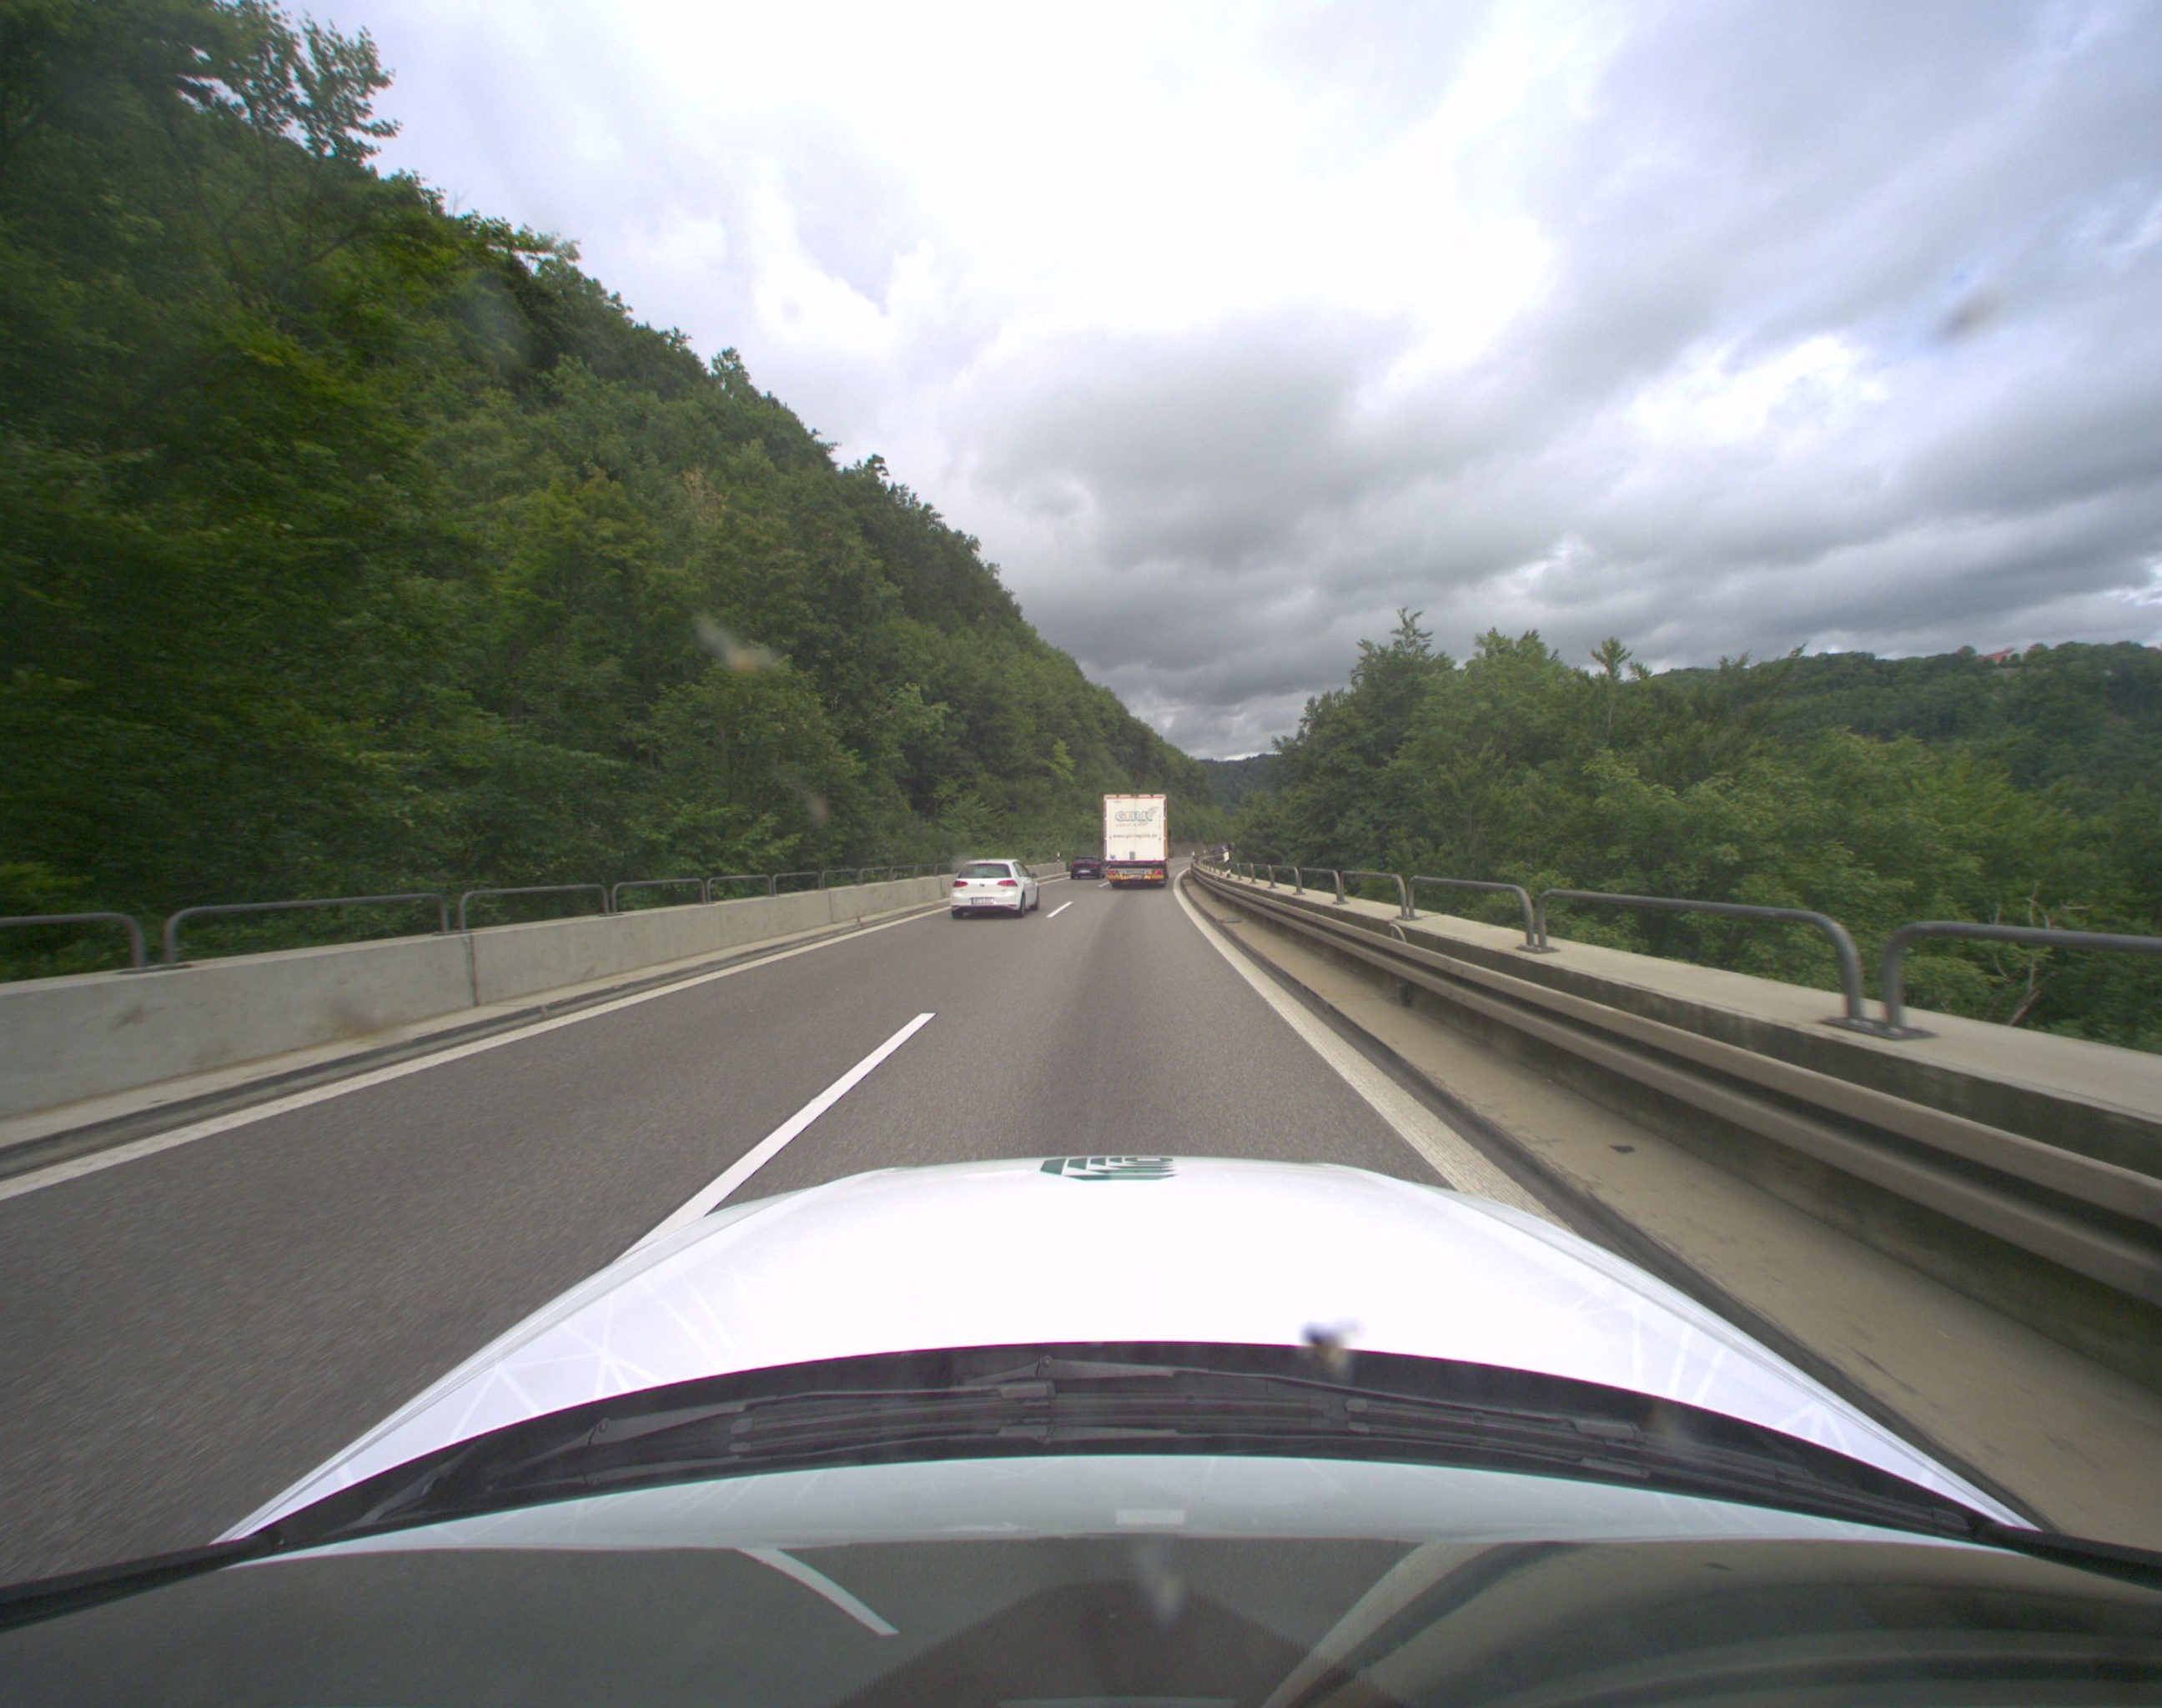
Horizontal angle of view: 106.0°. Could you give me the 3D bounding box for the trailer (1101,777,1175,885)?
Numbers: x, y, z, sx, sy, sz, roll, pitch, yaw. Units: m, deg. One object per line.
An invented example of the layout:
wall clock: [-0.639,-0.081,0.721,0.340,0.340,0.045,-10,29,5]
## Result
trailer: [3.009,-0.851,39.365,2.798,4.302,12.267,-2,-1,7]

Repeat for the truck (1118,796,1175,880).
truck: [3.787,-0.776,45.831,2.799,4.302,6.270,-2,-1,7]

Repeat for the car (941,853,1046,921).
car: [-2.137,0.771,21.211,1.836,1.481,4.634,-2,0,4]

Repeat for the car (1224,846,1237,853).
car: [30.242,-0.862,164.492,1.977,1.486,4.019,-1,0,19]

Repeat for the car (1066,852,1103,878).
car: [0.261,0.669,49.589,1.765,1.461,4.588,-2,-1,5]

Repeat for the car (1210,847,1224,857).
car: [23.675,-0.336,141.526,1.978,1.565,4.017,-2,-2,16]

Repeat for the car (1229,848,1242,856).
car: [34.559,-0.508,182.325,1.976,1.783,4.021,-1,0,22]
